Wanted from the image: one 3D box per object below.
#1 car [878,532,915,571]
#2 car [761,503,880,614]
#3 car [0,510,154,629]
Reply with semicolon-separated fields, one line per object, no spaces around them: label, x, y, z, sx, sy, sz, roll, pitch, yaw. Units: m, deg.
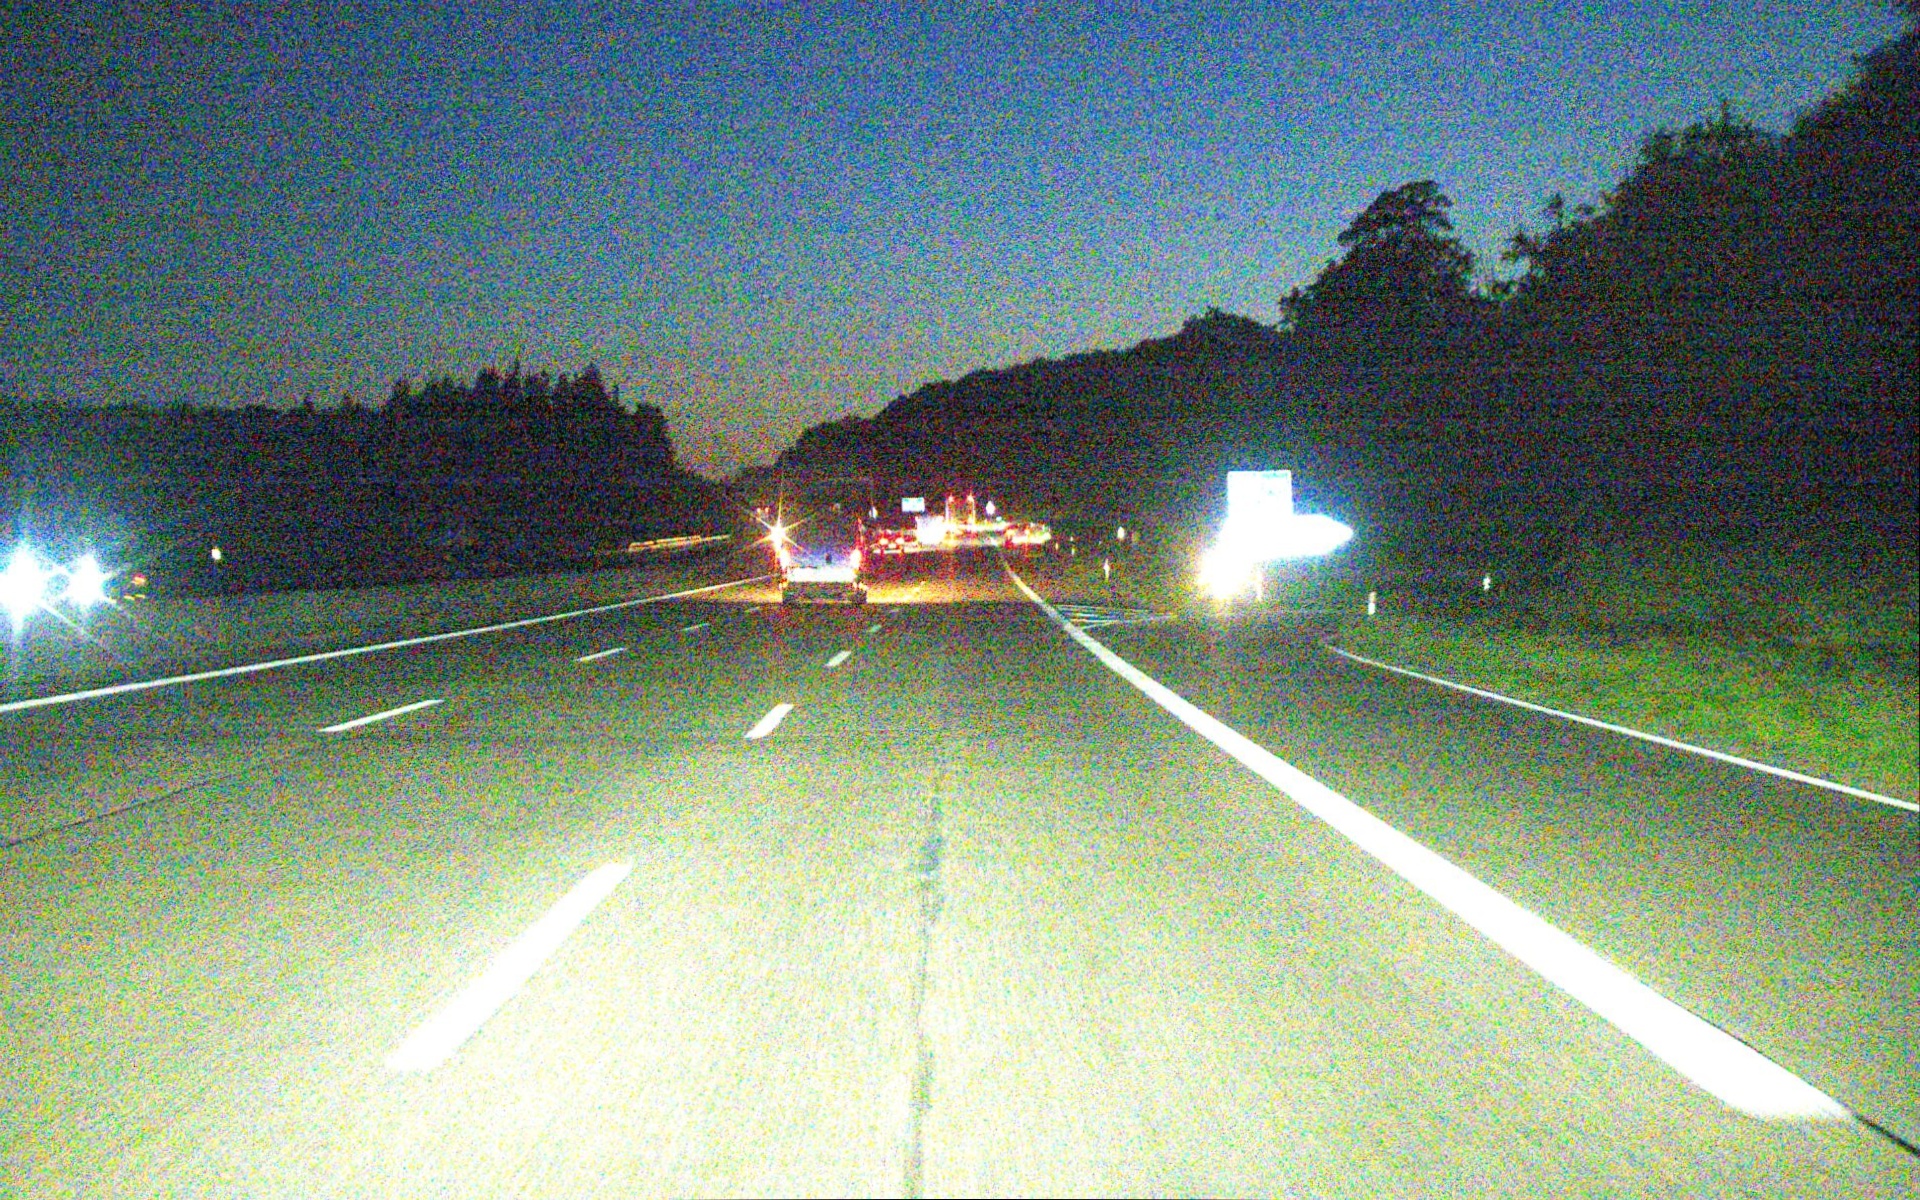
car;-4.767;-3.625;256.978;2.786;2.724;6.299;0;-1;-1
car;-3.563;-1.036;89.181;2.786;2.724;6.299;0;-1;0
car;-22.973;-0.780;88.716;2.846;2.927;6.602;1;0;-1
